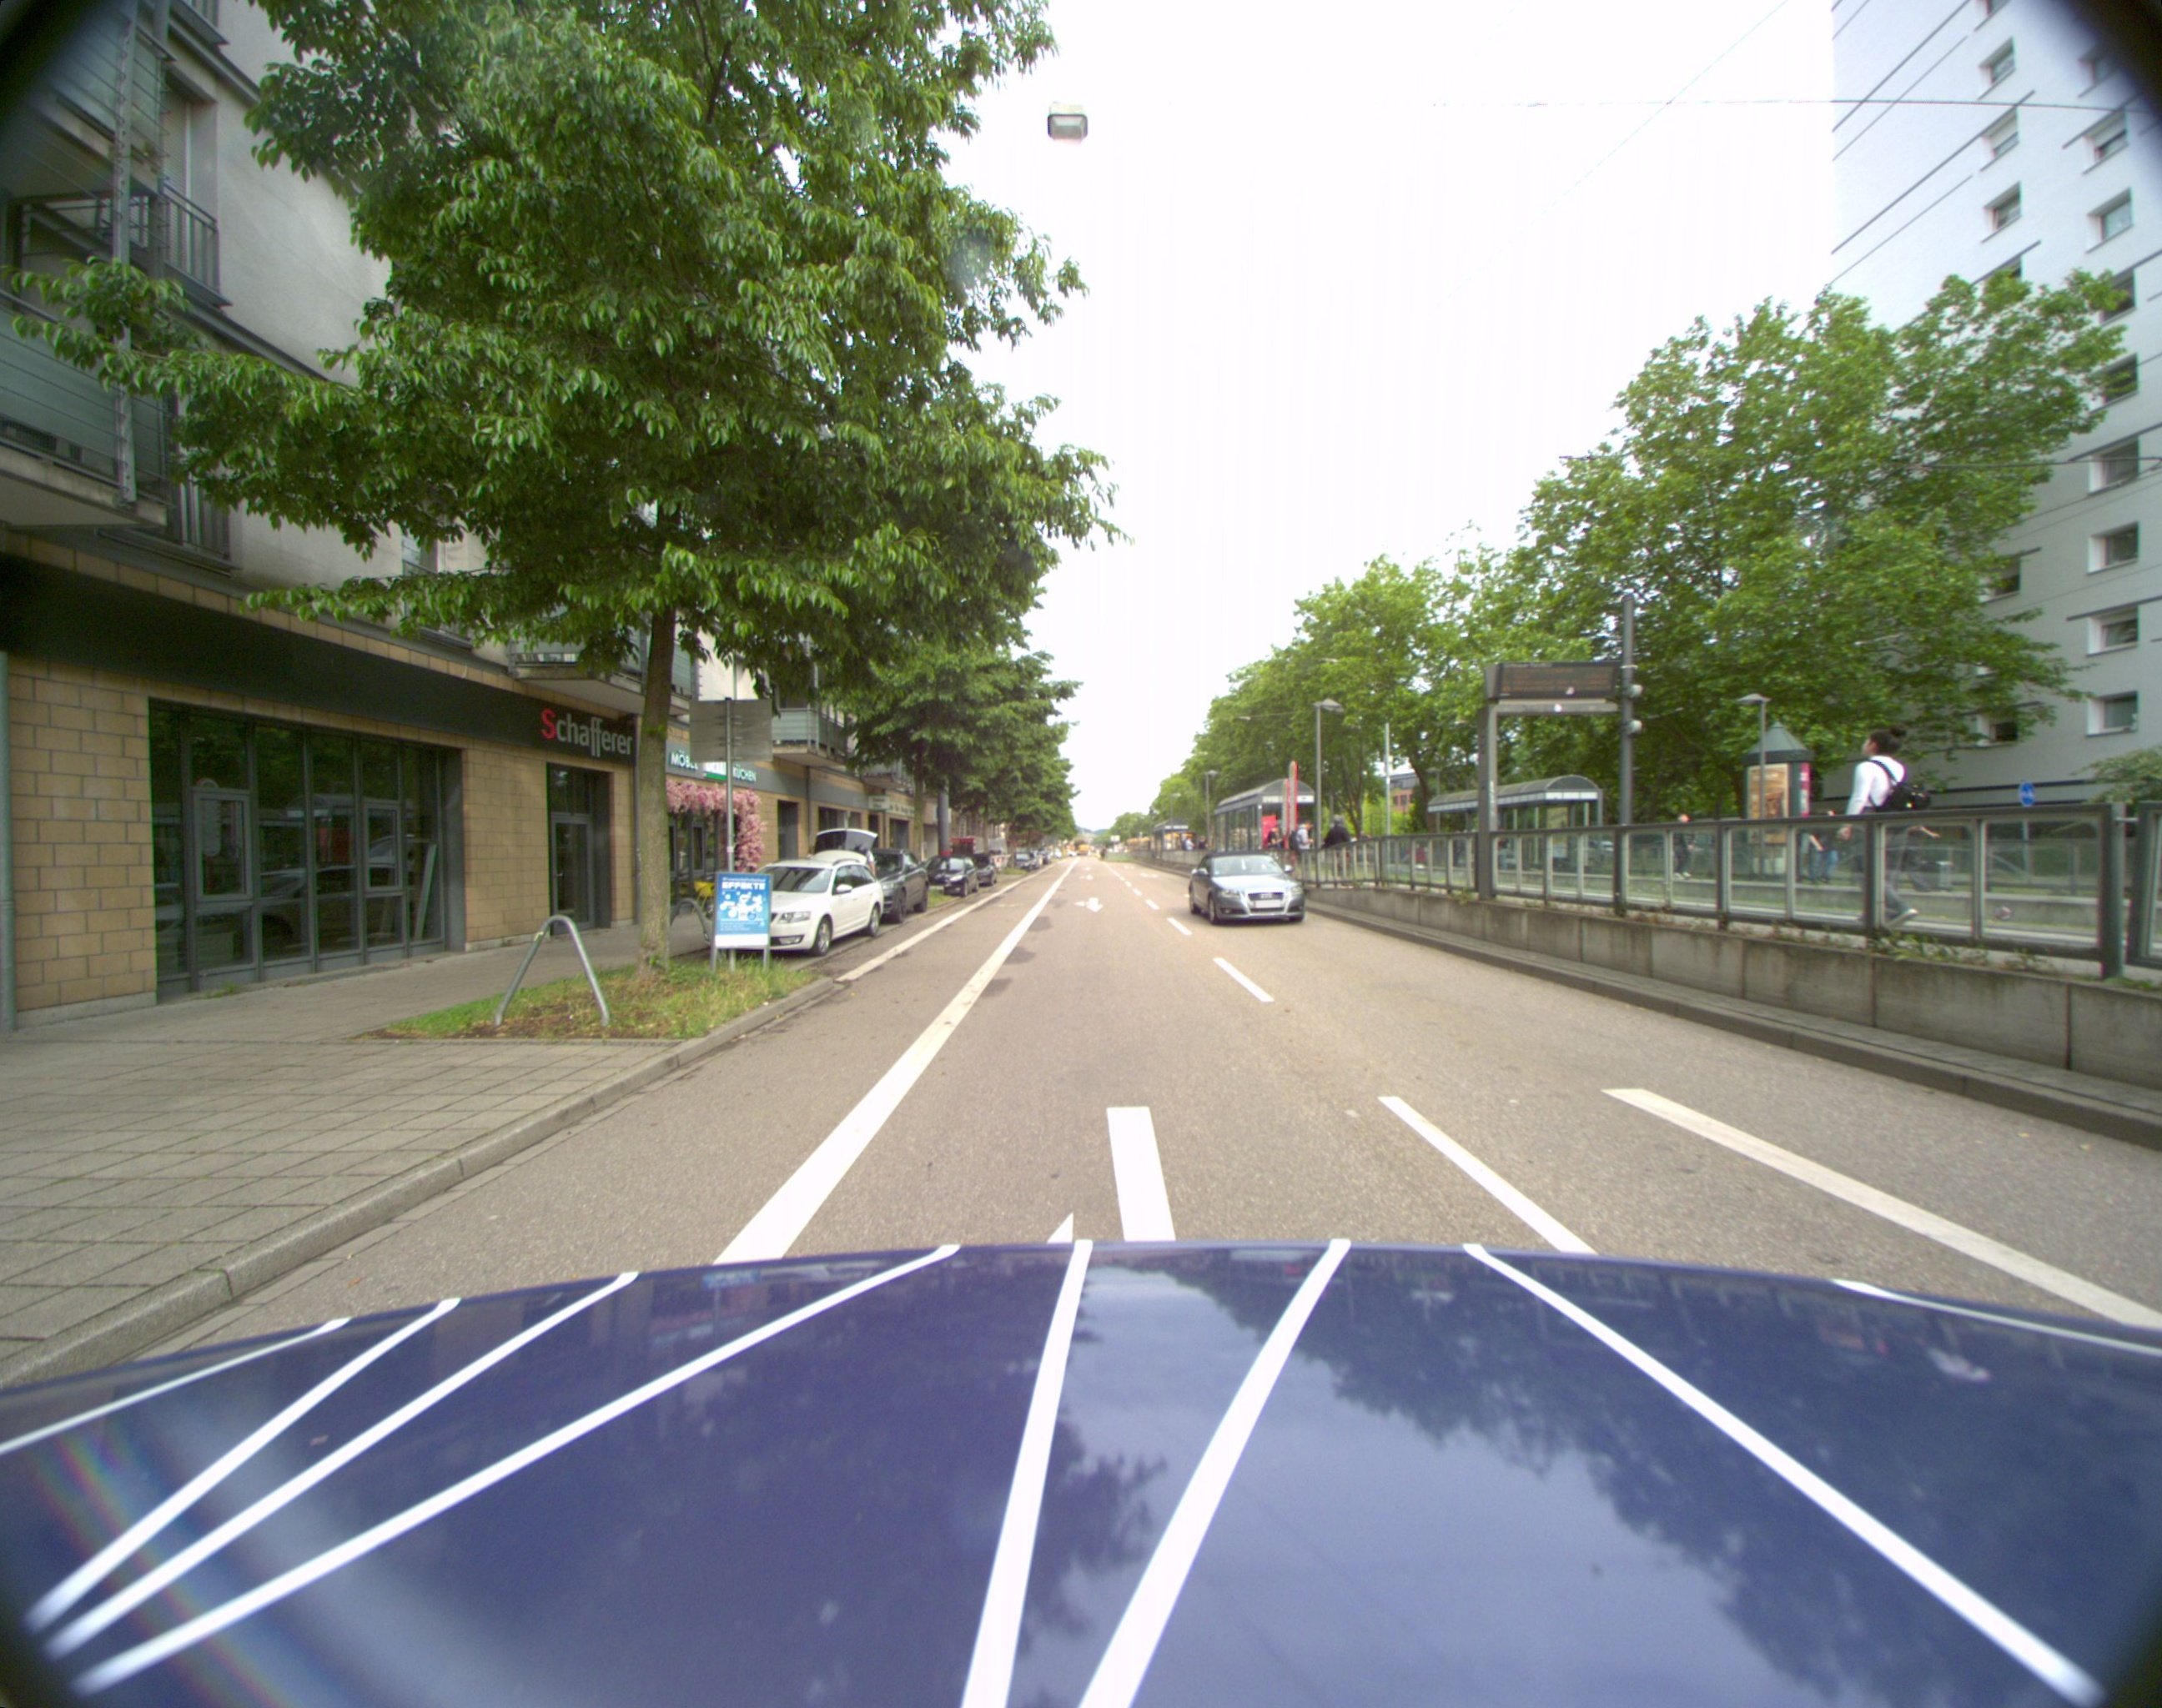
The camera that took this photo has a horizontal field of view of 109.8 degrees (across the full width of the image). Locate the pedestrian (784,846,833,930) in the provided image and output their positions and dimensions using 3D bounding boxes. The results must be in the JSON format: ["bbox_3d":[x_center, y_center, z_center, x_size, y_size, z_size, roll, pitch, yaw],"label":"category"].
[{"bbox_3d":[-5.623,0.681,15.706,0.737,1.707,0.618,0,1,8],"label":"pedestrian"}]

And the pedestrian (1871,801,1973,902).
[{"bbox_3d":[15.206,-0.048,13.759,0.882,1.746,0.850,-2,1,1],"label":"pedestrian"}]

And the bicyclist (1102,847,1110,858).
[{"bbox_3d":[3.265,-0.206,98.853,0.728,1.458,0.810,-2,1,-44],"label":"bicyclist"}]

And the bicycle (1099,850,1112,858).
[{"bbox_3d":[3.211,0.026,98.921,0.492,0.925,1.777,-3,1,-43],"label":"bicycle"}]

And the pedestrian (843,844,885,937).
[{"bbox_3d":[-4.502,0.741,15.783,0.656,1.873,0.599,-1,1,1],"label":"pedestrian"}]

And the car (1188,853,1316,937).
[{"bbox_3d":[3.323,0.728,15.547,1.716,1.379,4.099,-2,1,1],"label":"car"}]

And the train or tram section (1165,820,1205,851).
[{"bbox_3d":[13.656,-2.348,101.328,3.338,3.731,15.201,-2,1,1],"label":"train or tram section"}]

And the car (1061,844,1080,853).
[{"bbox_3d":[-2.546,-1.250,182.836,4.186,2.002,2.004,-2,1,34],"label":"car"}]

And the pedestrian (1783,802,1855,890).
[{"bbox_3d":[15.892,-0.176,16.376,0.882,1.823,0.666,-2,1,1],"label":"pedestrian"}]

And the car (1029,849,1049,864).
[{"bbox_3d":[-3.979,0.215,72.444,1.612,1.393,3.667,2,1,1],"label":"car"}]

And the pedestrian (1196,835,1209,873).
[{"bbox_3d":[5.840,0.006,36.517,0.530,1.794,0.606,-2,1,14],"label":"pedestrian"}]

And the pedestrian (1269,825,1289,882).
[{"bbox_3d":[6.306,-0.022,24.193,0.474,1.794,0.606,-2,1,26],"label":"pedestrian"}]

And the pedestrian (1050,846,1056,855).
[{"bbox_3d":[-6.216,-0.853,169.909,1.216,2.002,1.143,-1,1,1],"label":"pedestrian"}]

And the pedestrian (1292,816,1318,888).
[{"bbox_3d":[5.741,-0.058,19.476,0.475,1.794,0.605,-2,1,5],"label":"pedestrian"}]

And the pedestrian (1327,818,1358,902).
[{"bbox_3d":[5.699,0.125,16.574,0.521,1.794,0.605,-2,1,13],"label":"pedestrian"}]

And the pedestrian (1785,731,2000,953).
[{"bbox_3d":[6.623,-0.094,6.263,0.720,1.661,0.979,-2,1,3],"label":"pedestrian"}]

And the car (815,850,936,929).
[{"bbox_3d":[-4.722,0.745,17.997,1.738,1.601,3.798,2,1,1],"label":"car"}]

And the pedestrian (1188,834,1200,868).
[{"bbox_3d":[6.132,-0.172,41.334,0.530,1.794,0.606,-2,1,14],"label":"pedestrian"}]

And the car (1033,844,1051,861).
[{"bbox_3d":[-3.973,-0.135,78.214,1.612,1.674,3.806,2,1,1],"label":"car"}]

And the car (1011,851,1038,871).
[{"bbox_3d":[-4.173,0.484,56.259,1.612,1.393,3.667,2,1,1],"label":"car"}]

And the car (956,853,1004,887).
[{"bbox_3d":[-4.564,0.688,34.730,1.612,1.393,3.667,2,1,1],"label":"car"}]

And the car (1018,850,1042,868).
[{"bbox_3d":[-4.134,0.370,62.158,1.612,1.393,3.667,2,1,1],"label":"car"}]

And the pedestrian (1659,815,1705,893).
[{"bbox_3d":[15.099,-0.004,19.098,0.699,1.919,0.554,-2,1,1],"label":"pedestrian"}]

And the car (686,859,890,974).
[{"bbox_3d":[-4.725,0.904,12.994,1.738,1.512,4.308,2,1,1],"label":"car"}]

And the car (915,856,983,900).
[{"bbox_3d":[-4.644,0.798,27.269,1.612,1.369,4.167,2,1,1],"label":"car"}]
